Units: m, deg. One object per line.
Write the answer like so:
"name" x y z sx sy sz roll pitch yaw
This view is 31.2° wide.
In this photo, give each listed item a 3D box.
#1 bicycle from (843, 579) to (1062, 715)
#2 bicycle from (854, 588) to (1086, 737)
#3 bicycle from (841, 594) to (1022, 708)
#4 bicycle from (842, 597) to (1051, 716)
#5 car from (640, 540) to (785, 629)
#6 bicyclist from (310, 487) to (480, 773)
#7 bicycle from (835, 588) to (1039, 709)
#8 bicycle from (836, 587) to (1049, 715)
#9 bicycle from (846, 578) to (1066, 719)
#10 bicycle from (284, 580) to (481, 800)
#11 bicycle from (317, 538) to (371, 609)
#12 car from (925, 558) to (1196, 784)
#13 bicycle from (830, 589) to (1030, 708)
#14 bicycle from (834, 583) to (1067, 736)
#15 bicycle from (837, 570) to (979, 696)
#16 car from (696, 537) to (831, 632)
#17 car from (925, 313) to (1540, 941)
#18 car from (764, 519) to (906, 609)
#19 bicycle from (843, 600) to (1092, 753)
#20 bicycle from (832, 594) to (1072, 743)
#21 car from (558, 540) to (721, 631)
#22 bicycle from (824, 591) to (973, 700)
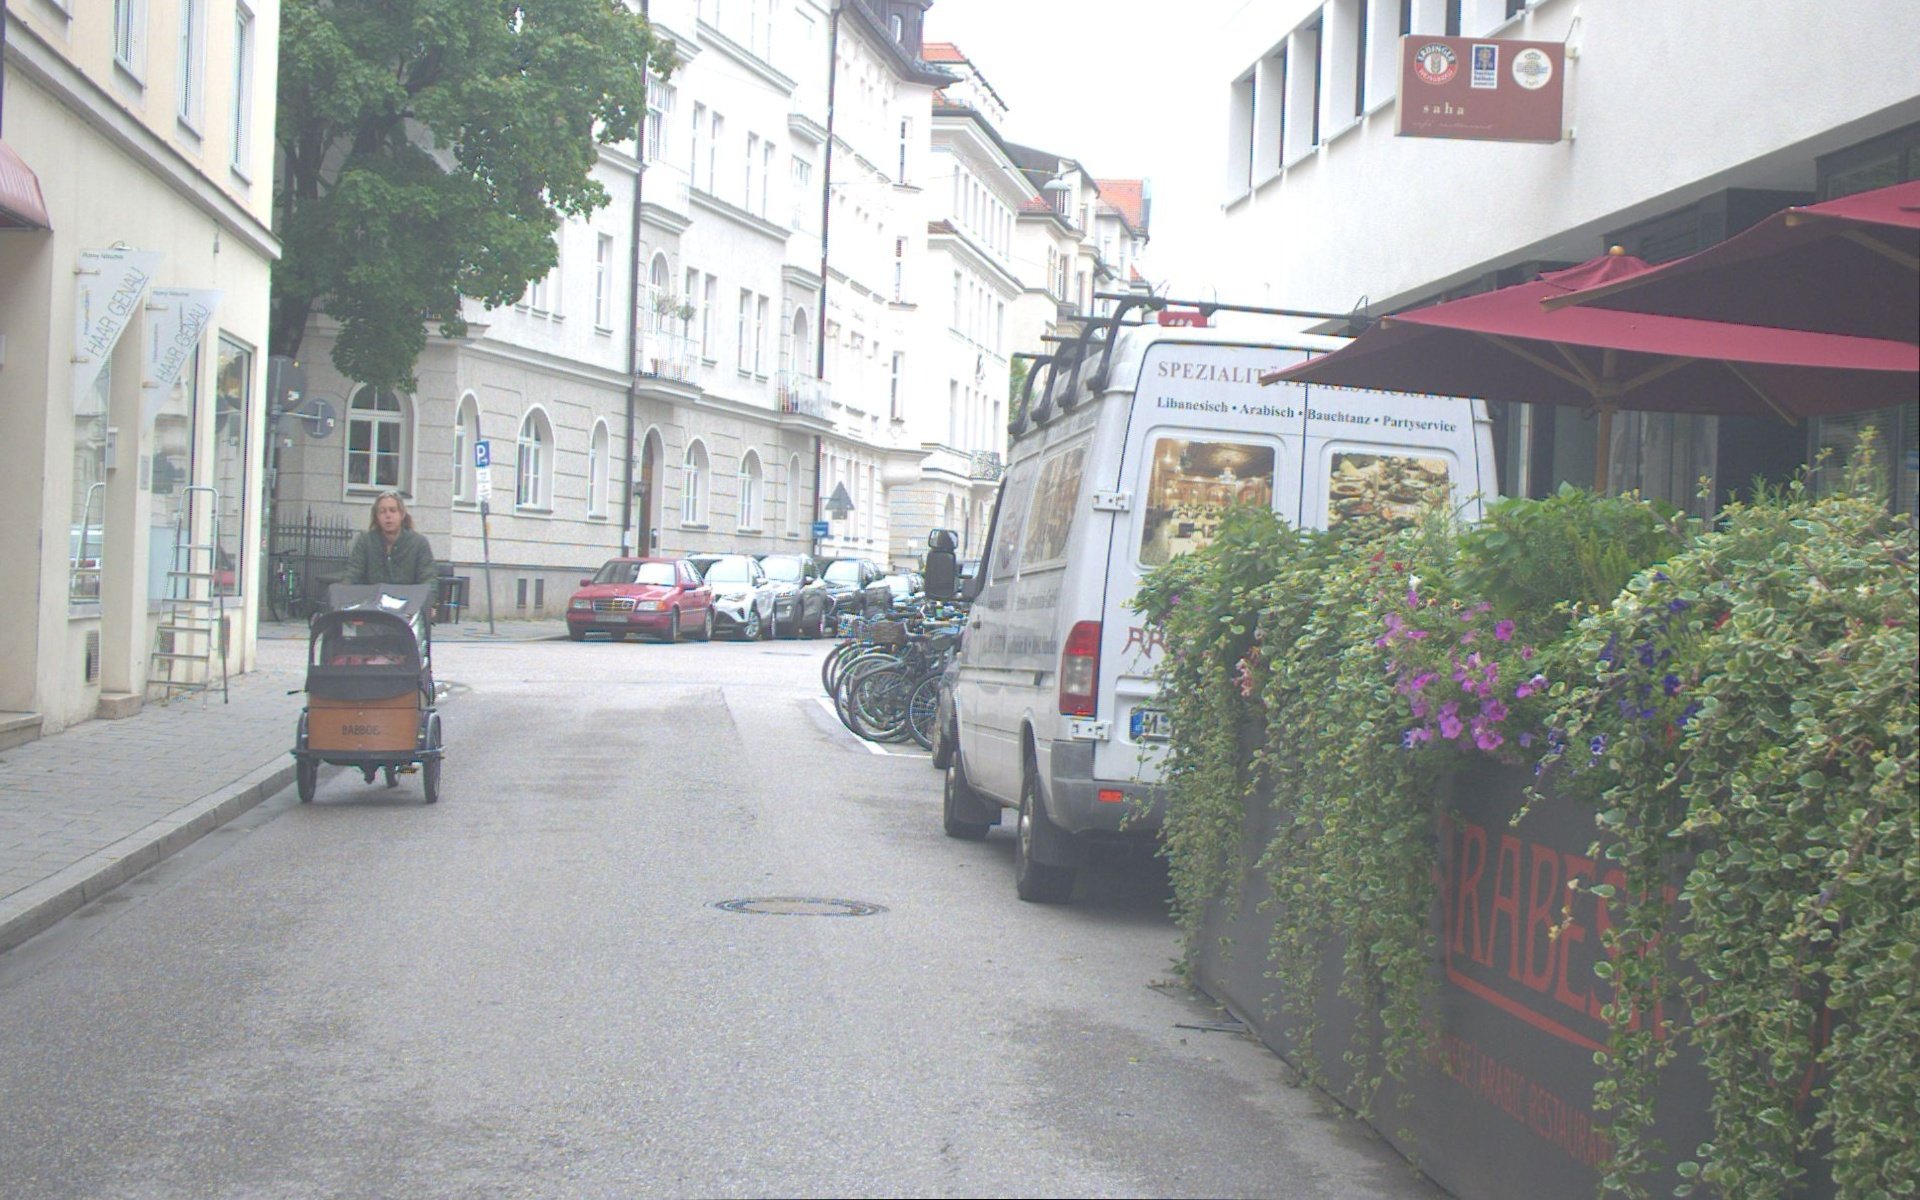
"bicycle" -0.071 0.418 30.949 1.893 1.166 0.566 1 1 -7
"bicycle" 0.081 0.535 29.621 1.873 1.153 0.565 3 2 -6
"bicycle" -0.290 0.513 34.590 1.740 1.076 0.452 2 2 -8
"bicycle" -0.128 0.530 32.219 1.873 1.048 0.564 2 -1 -8
"car" -4.393 -0.281 61.609 1.994 1.468 4.218 2 1 4
"bicyclist" -3.483 0.174 21.280 0.926 1.715 1.100 1 1 -4
"bicycle" -0.222 0.463 32.911 1.873 1.076 0.402 2 2 -8
"bicycle" -0.166 0.468 31.510 1.873 1.091 0.440 2 2 -8
"bicycle" -0.042 0.422 30.344 1.873 1.200 0.580 1 1 -6
"bicycle" -3.468 0.509 20.865 0.932 1.253 2.414 1 0 -4
"bicycle" -9.830 -0.429 54.910 0.493 1.049 1.827 2 3 1
"car" 0.663 0.461 24.960 1.580 1.459 3.552 2 1 -4
"bicycle" -0.294 0.466 33.346 1.873 1.076 0.408 2 2 -8
"bicycle" -0.086 0.499 28.924 1.873 1.200 0.488 2 2 -6
"bicycle" -0.562 0.349 36.819 1.456 1.281 0.445 2 1 -3
"car" -3.755 -0.304 66.417 1.943 1.696 3.999 3 1 6
"car" 1.100 0.062 17.166 1.920 2.497 5.998 3 1 -5
"car" -2.561 -0.740 71.653 1.994 1.732 4.520 3 1 10
"bicycle" 0.058 0.610 27.478 1.873 1.076 0.488 4 2 -6
"bicycle" -0.073 0.561 28.404 1.873 1.104 0.488 3 2 -6
"car" -5.216 -0.247 56.392 1.731 1.373 4.225 2 1 7
"bicycle" -0.640 0.473 35.803 1.450 1.066 0.463 2 1 -12
